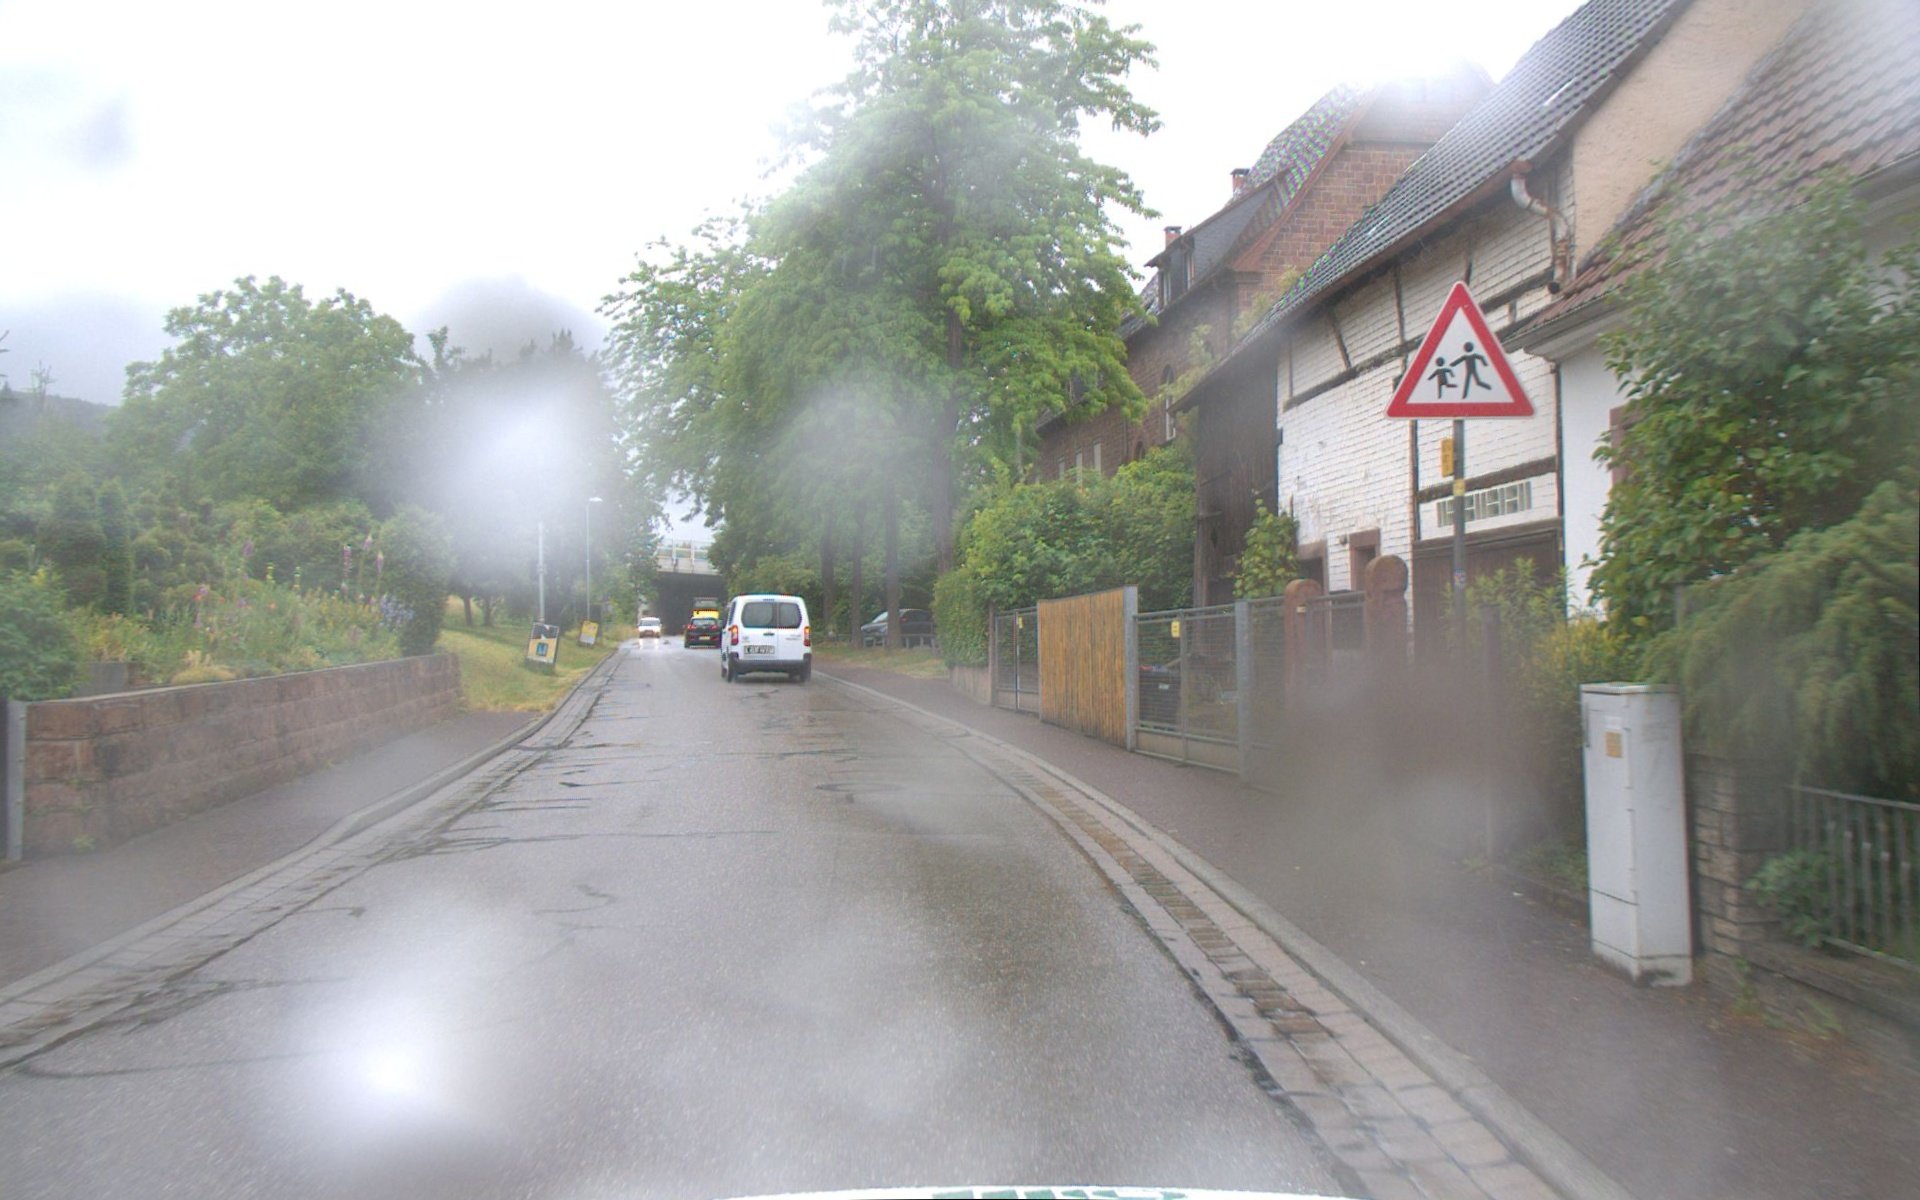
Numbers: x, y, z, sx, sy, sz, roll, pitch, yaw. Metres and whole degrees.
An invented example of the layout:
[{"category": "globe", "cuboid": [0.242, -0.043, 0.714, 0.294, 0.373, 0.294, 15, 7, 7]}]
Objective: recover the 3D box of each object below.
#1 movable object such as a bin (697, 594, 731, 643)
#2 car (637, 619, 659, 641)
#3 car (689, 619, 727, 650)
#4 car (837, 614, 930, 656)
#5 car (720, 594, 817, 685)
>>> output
[{"category": "movable object such as a bin", "cuboid": [-13.491, 1.043, 90.779, 1.728, 2.593, 4.231, 1, -2, -8]}, {"category": "car", "cuboid": [-27.574, 2.697, 145.984, 1.791, 1.864, 4.294, 1, -2, -12]}, {"category": "car", "cuboid": [-12.024, 1.654, 78.976, 1.676, 1.402, 3.993, 1, -2, -8]}, {"category": "car", "cuboid": [-2.990, 1.383, 65.270, 1.594, 1.578, 3.589, -3, -3, 43]}, {"category": "car", "cuboid": [-4.222, 0.843, 36.005, 1.862, 1.838, 3.991, -1, -1, -10]}]
